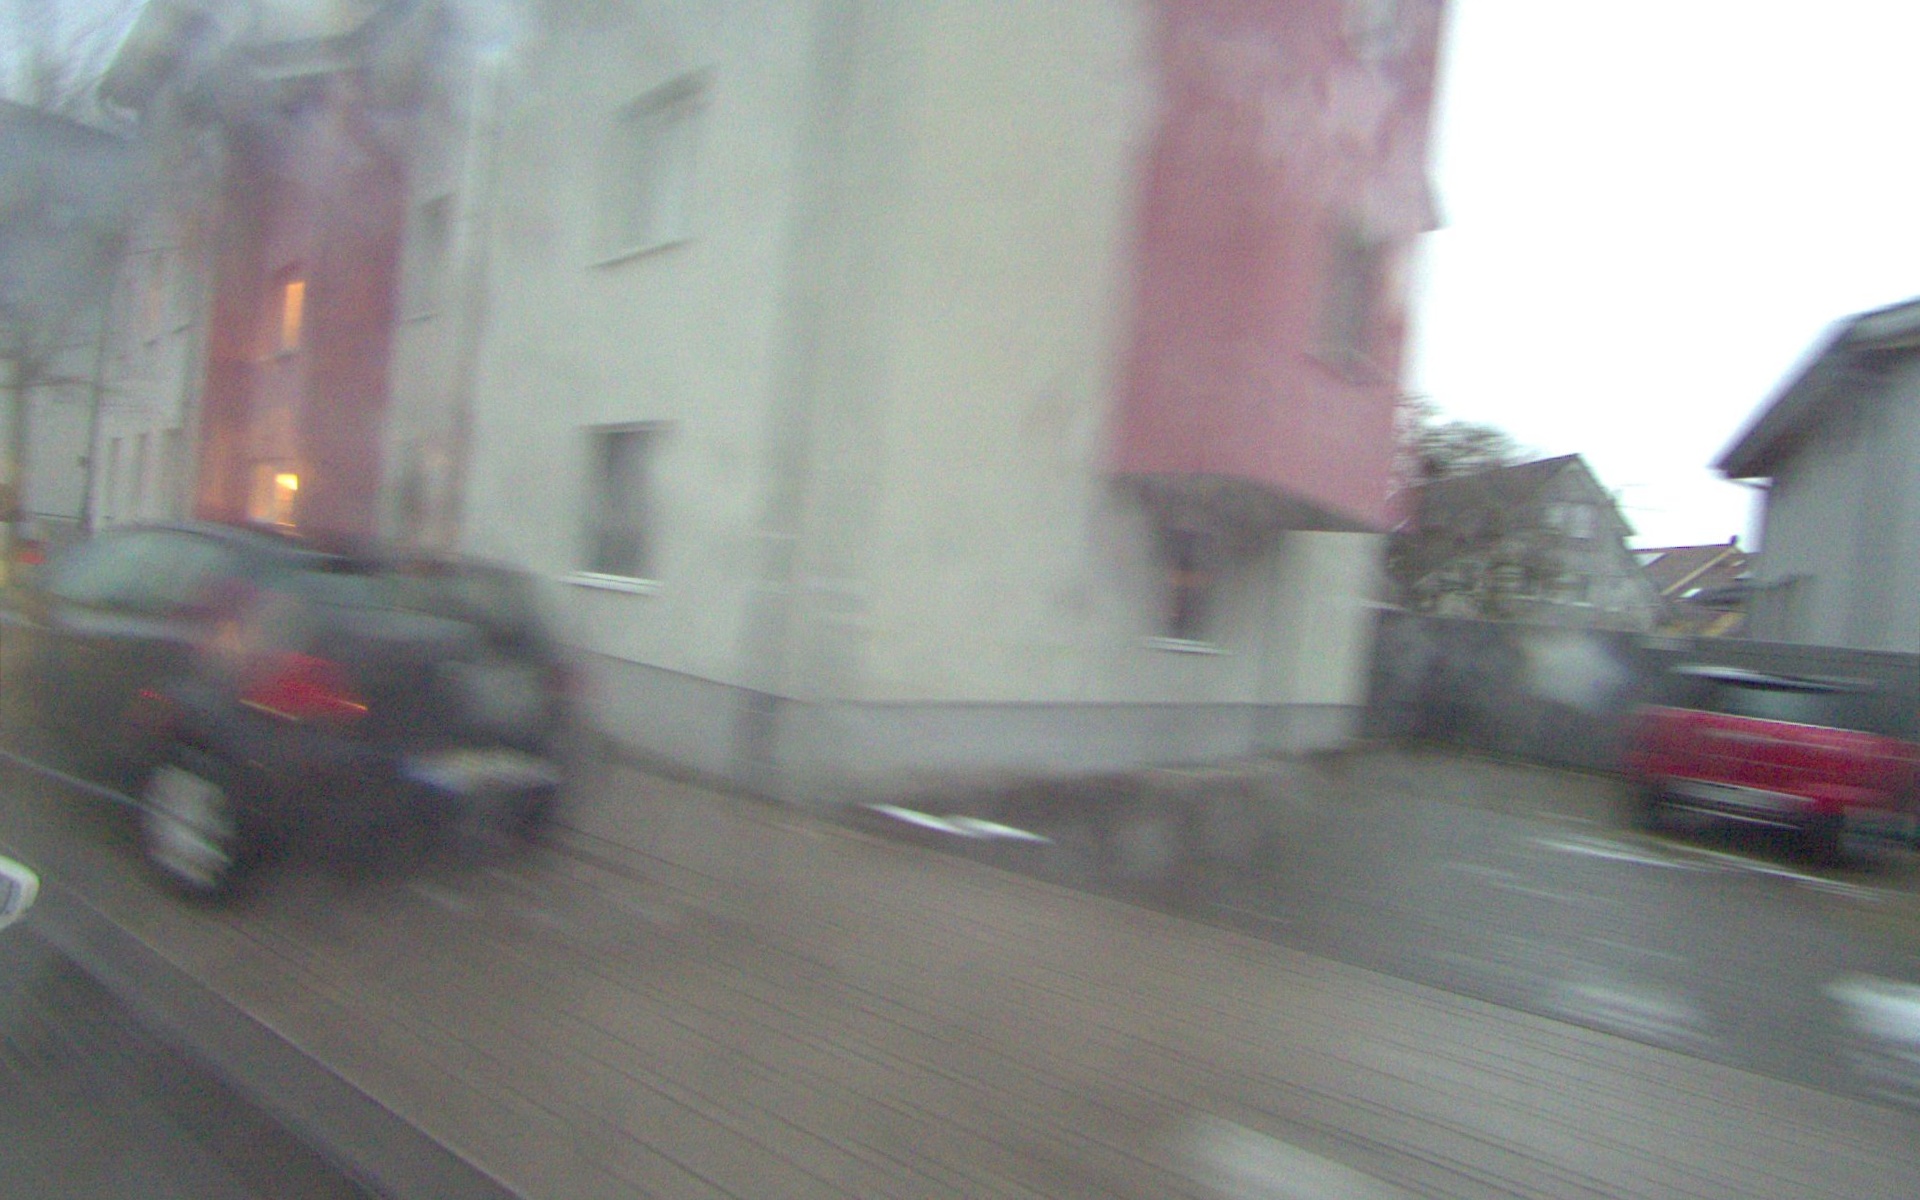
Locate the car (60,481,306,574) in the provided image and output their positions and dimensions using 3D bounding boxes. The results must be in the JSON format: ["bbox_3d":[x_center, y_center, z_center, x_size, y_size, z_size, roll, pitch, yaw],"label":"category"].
[{"bbox_3d":[-17.751,-1.615,23.127,1.837,1.575,4.140,7,1,41],"label":"car"}]

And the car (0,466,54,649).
[{"bbox_3d":[-10.523,-0.618,9.542,4.423,1.596,1.665,7,1,32],"label":"car"}]

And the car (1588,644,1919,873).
[{"bbox_3d":[7.828,1.434,9.683,3.740,1.613,1.685,6,2,-37],"label":"car"}]

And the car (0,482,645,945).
[{"bbox_3d":[-3.790,0.272,5.205,4.120,1.470,1.704,7,1,30],"label":"car"}]
